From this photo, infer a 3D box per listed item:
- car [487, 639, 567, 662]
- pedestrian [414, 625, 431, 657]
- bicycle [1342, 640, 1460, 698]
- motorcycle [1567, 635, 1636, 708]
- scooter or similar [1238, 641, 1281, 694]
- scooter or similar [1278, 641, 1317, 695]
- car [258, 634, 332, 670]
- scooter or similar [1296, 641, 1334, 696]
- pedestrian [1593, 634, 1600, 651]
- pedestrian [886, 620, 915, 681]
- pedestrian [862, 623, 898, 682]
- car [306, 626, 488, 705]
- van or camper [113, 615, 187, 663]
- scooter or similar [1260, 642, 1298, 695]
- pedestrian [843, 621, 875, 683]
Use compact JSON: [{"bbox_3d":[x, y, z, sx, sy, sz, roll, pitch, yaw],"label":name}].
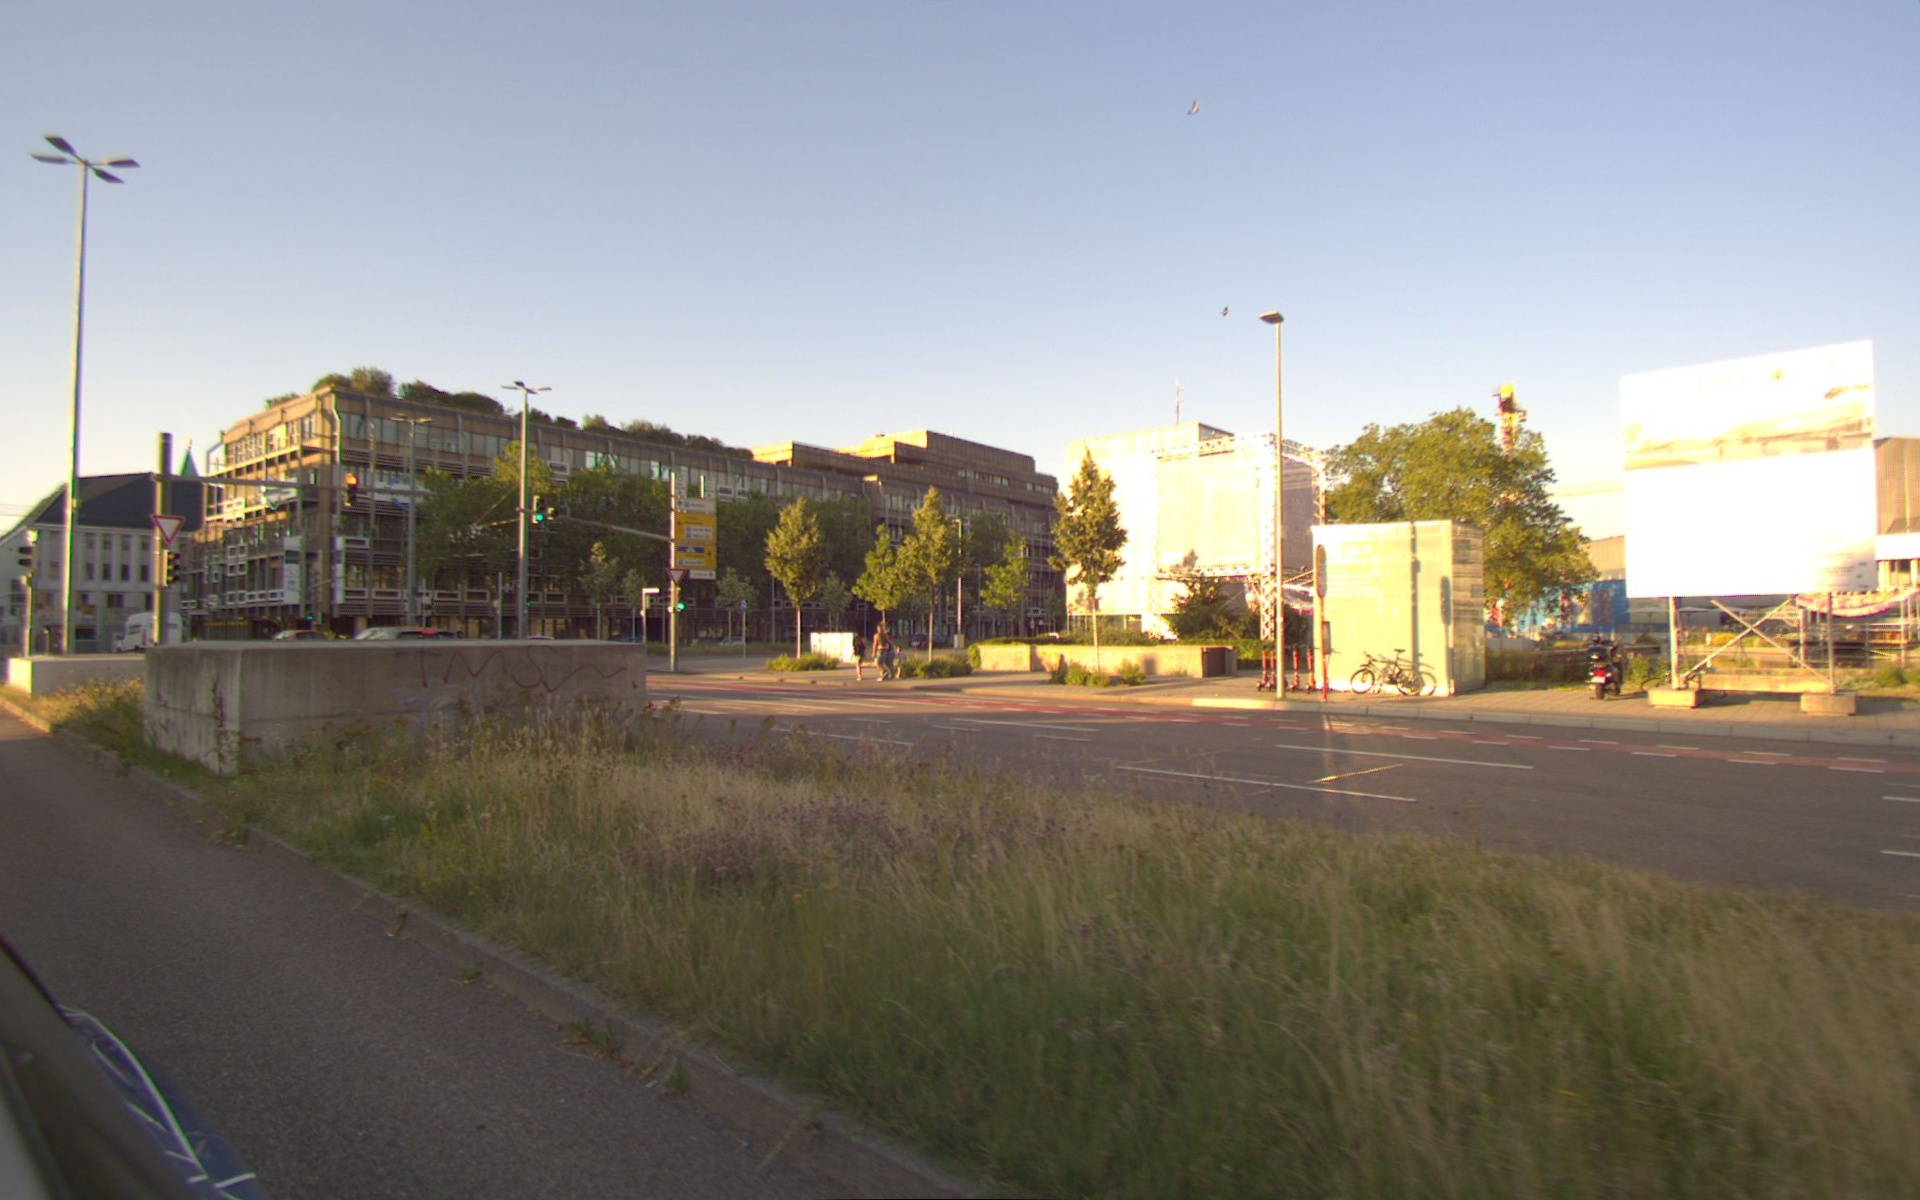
[{"bbox_3d":[-32.080,3.751,75.118,1.999,1.597,5.093,-3,-3,41],"label":"car"},{"bbox_3d":[-32.109,2.450,60.480,0.680,1.946,0.636,-2,-3,39],"label":"pedestrian"},{"bbox_3d":[10.580,1.631,24.359,2.507,1.334,0.611,-2,-3,40],"label":"bicycle"},{"bbox_3d":[14.122,1.515,22.230,0.839,1.393,3.200,-2,-1,40],"label":"motorcycle"},{"bbox_3d":[7.829,1.742,26.422,0.500,1.315,1.841,-1,-2,35],"label":"scooter or similar"},{"bbox_3d":[8.631,1.723,25.837,0.422,1.315,1.814,-1,-2,35],"label":"scooter or similar"},{"bbox_3d":[-30.581,2.378,46.504,3.993,1.538,1.620,-2,-1,37],"label":"car"},{"bbox_3d":[8.982,1.708,25.570,0.422,1.315,1.819,-1,-2,35],"label":"scooter or similar"},{"bbox_3d":[53.927,3.601,85.773,0.380,1.418,0.572,-1,-2,21],"label":"pedestrian"},{"bbox_3d":[-1.948,1.641,33.001,0.648,1.948,0.652,-3,-4,43],"label":"pedestrian"},{"bbox_3d":[-2.552,1.676,32.326,0.775,1.851,0.862,-2,-3,43],"label":"pedestrian"},{"bbox_3d":[-11.734,1.297,20.984,4.535,1.477,1.867,-2,-3,41],"label":"car"},{"bbox_3d":[-48.606,2.372,60.650,6.156,2.687,2.204,-3,-3,39],"label":"van or camper"},{"bbox_3d":[8.251,1.739,26.137,0.417,1.315,1.771,-1,-2,35],"label":"scooter or similar"},{"bbox_3d":[-3.276,1.676,32.805,0.775,1.948,0.624,-3,-2,43],"label":"pedestrian"}]
